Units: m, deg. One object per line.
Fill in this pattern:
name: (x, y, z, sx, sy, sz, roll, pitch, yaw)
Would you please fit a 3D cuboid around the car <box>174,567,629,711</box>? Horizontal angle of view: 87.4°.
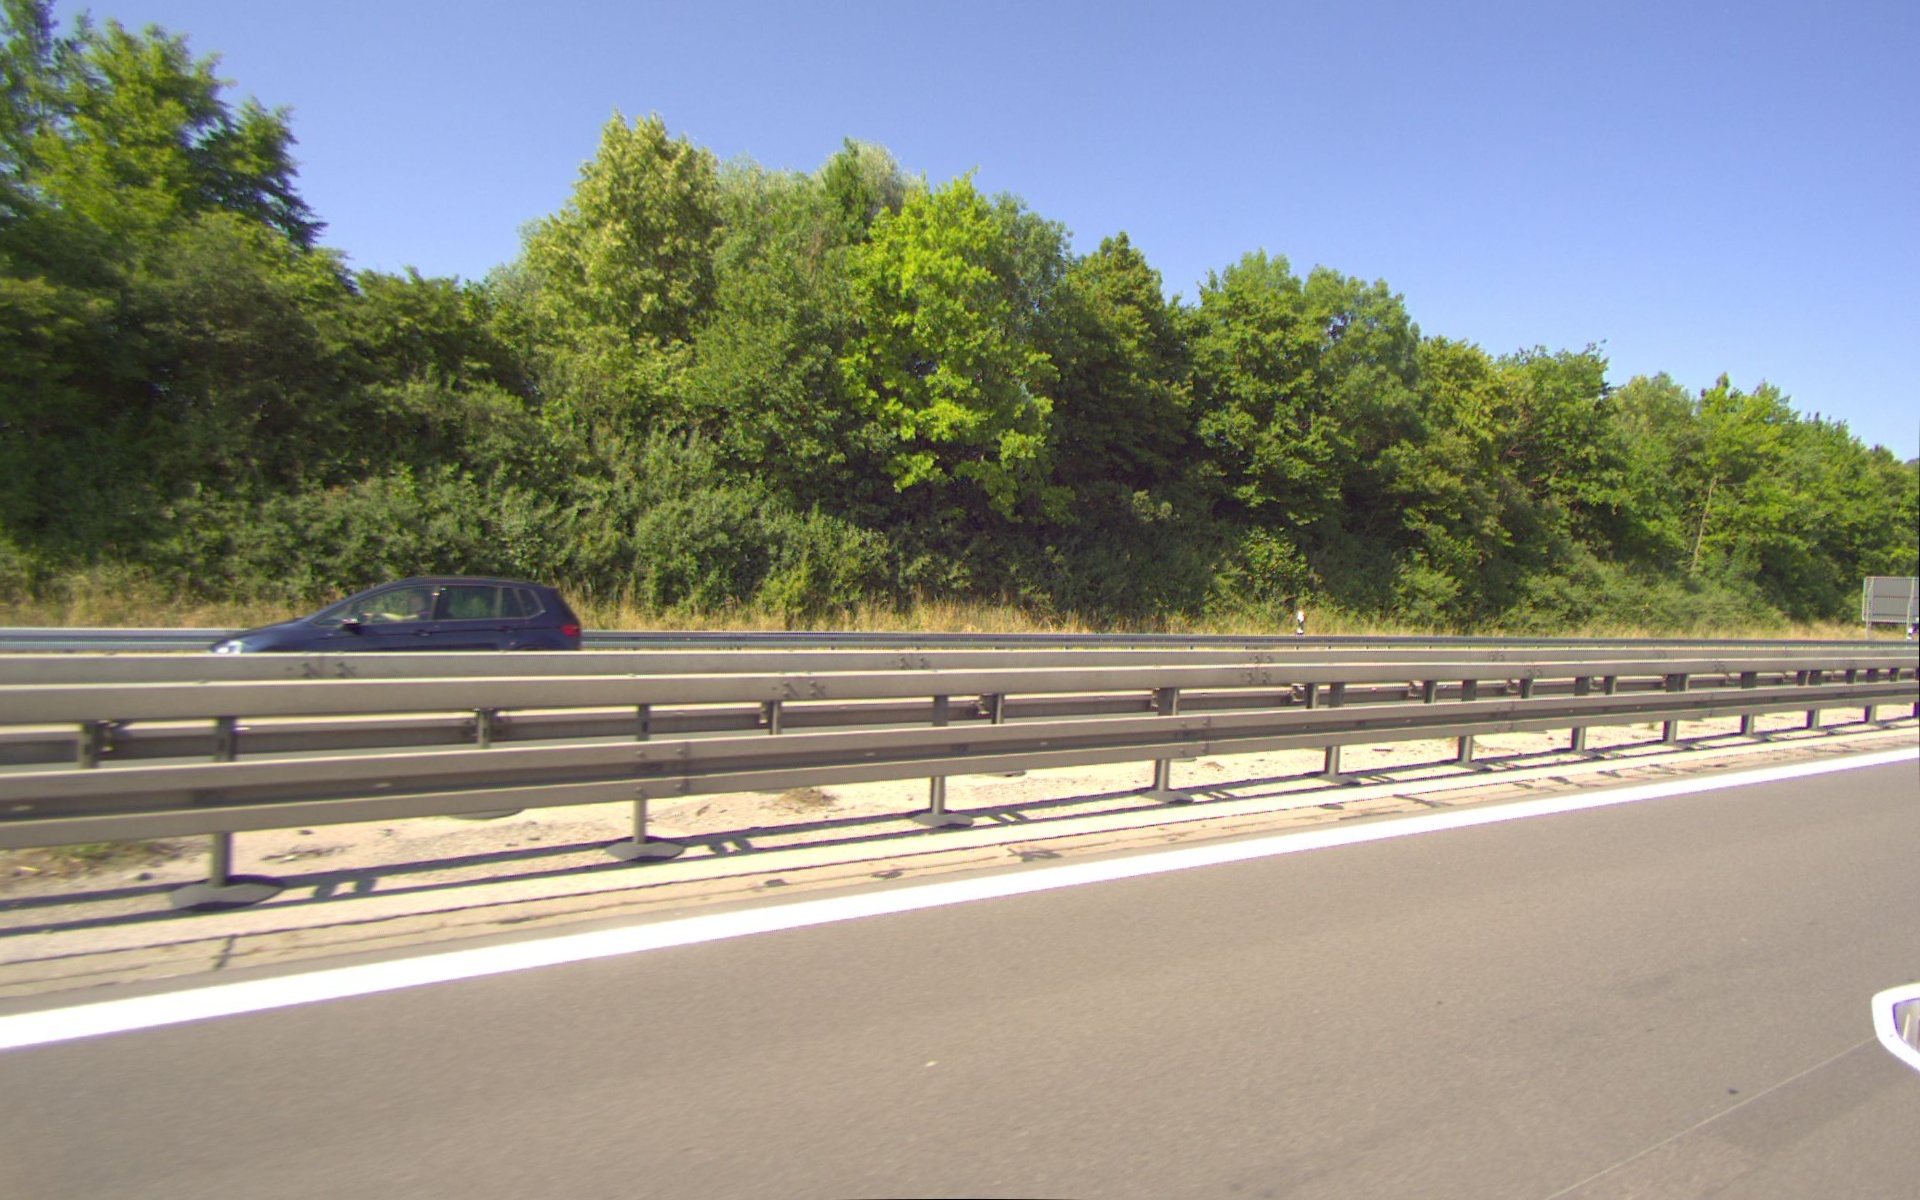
car: (-6.935, 0.446, 12.945, 4.792, 1.576, 1.802, 1, 1, -30)
